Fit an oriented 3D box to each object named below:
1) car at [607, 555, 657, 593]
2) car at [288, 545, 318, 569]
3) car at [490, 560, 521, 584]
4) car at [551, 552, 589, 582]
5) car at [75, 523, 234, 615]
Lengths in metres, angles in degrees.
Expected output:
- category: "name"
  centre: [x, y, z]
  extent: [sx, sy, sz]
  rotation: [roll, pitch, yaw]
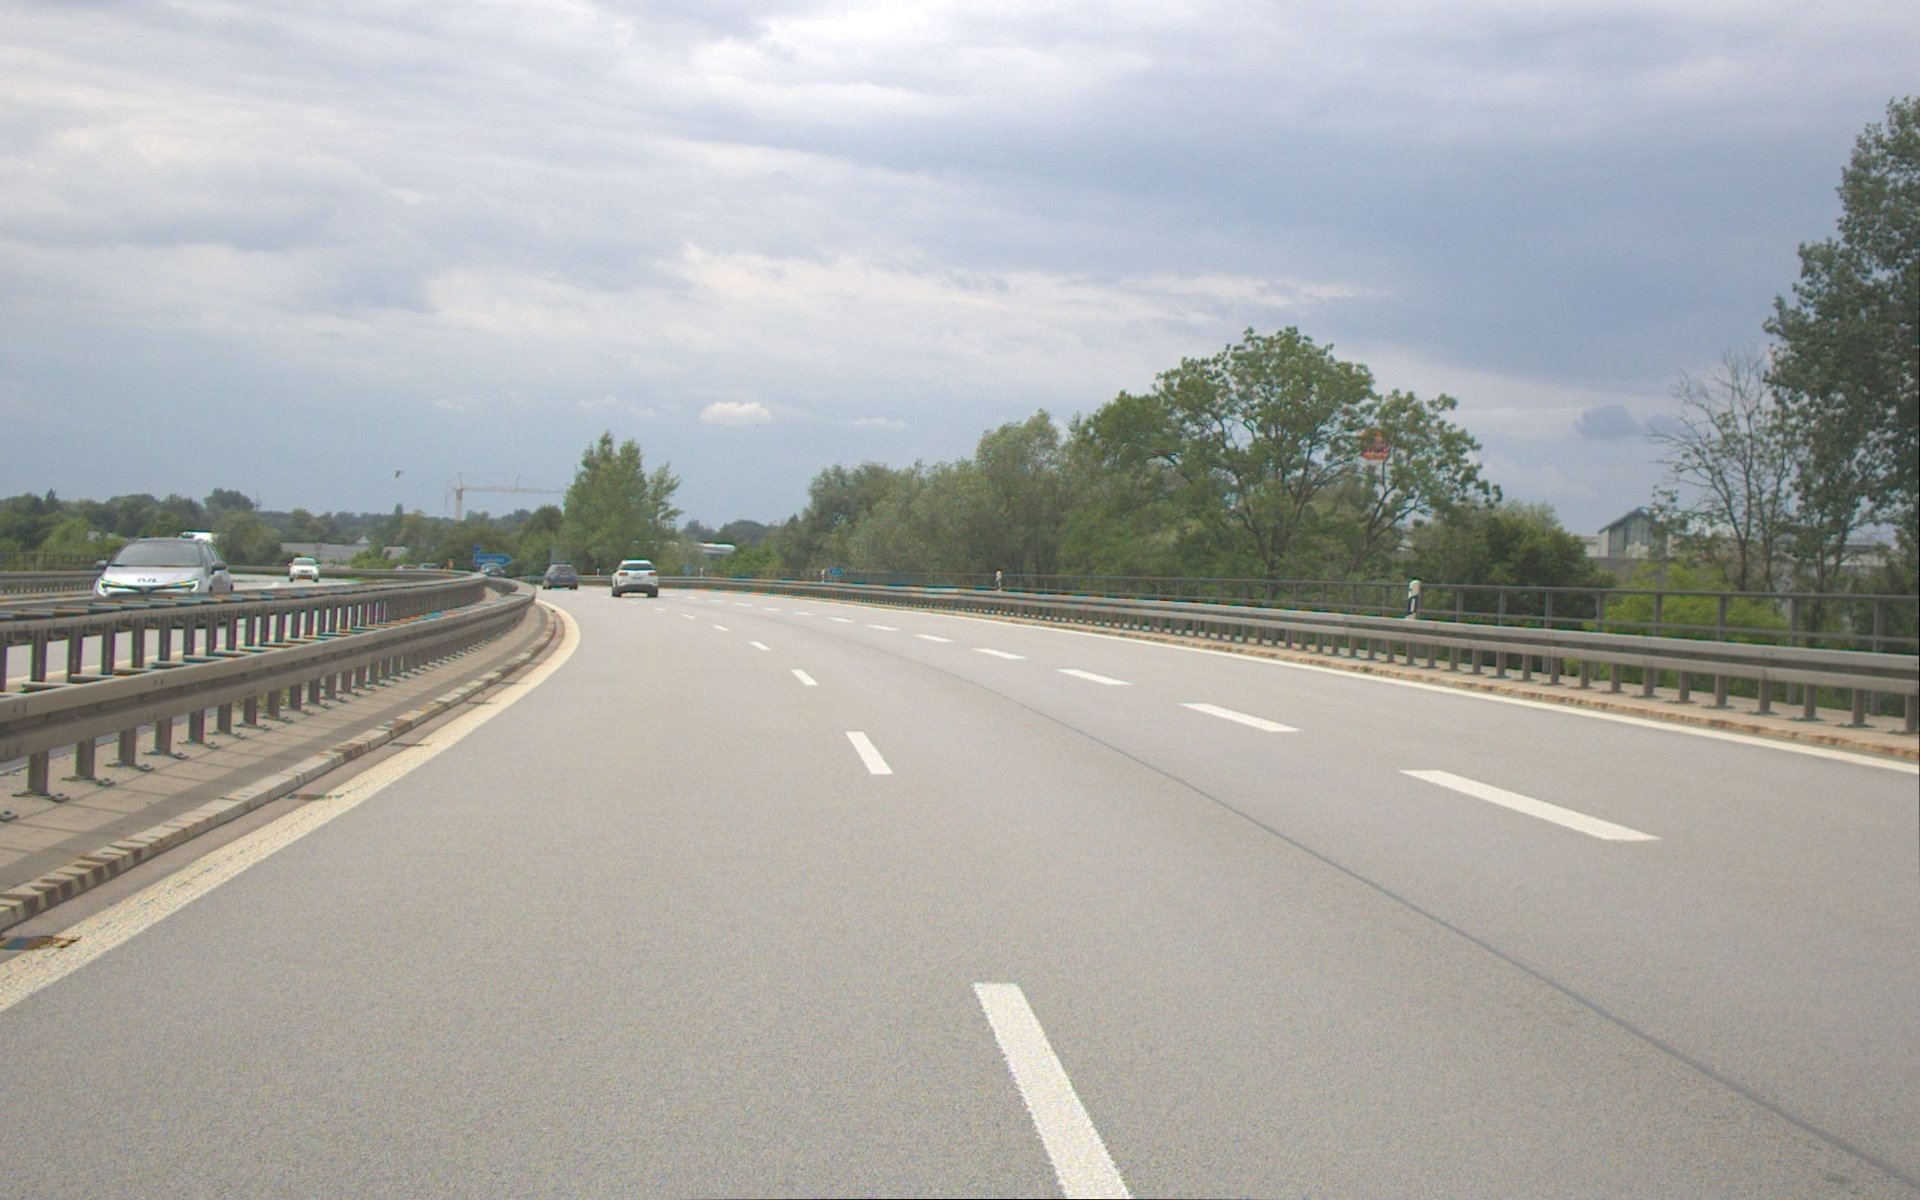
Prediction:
- category: "car"
  centre: [-14.639, -1.179, 153.222]
  extent: [1.902, 1.634, 4.397]
  rotation: [1, 0, -9]
- category: "car"
  centre: [-39.781, -2.584, 208.202]
  extent: [1.531, 1.402, 4.330]
  rotation: [1, 1, -8]
- category: "car"
  centre: [-31.699, -1.958, 239.934]
  extent: [1.902, 1.634, 4.781]
  rotation: [1, 0, -10]
- category: "car"
  centre: [-22.574, -1.912, 198.929]
  extent: [1.892, 1.634, 4.623]
  rotation: [1, 1, -9]
- category: "car"
  centre: [-12.897, -0.503, 55.251]
  extent: [1.772, 1.382, 4.388]
  rotation: [1, 1, -4]
